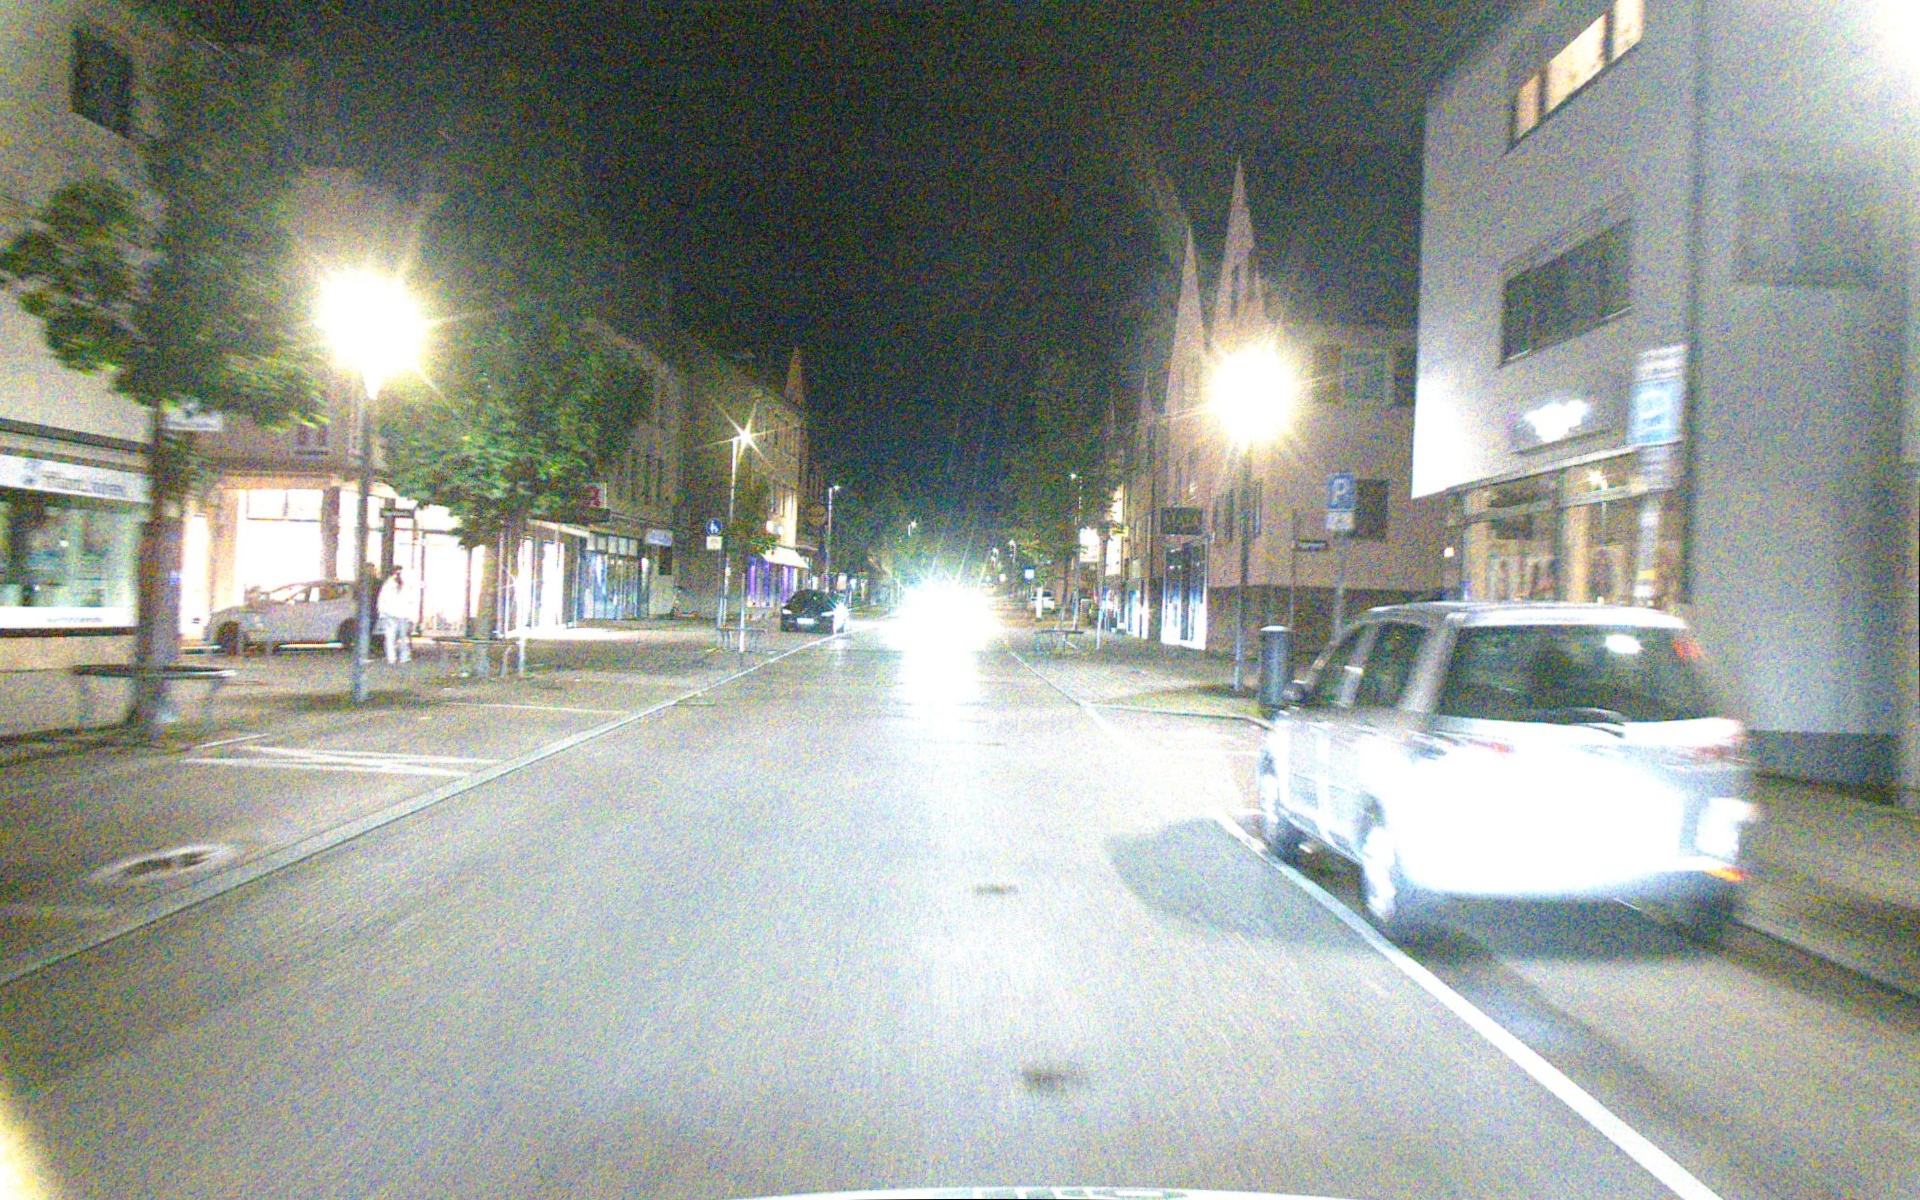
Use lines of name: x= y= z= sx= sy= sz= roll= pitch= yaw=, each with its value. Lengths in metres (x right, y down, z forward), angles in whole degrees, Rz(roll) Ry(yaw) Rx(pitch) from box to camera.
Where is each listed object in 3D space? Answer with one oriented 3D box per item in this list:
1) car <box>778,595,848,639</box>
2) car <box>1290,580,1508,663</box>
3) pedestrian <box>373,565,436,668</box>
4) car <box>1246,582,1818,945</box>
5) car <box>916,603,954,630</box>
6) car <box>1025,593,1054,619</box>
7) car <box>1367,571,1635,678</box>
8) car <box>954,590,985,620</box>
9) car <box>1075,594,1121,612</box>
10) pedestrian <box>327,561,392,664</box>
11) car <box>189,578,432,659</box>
car: x=-5.012 y=0.542 z=56.910 sx=1.875 sy=1.394 sz=4.458 roll=1 pitch=0 yaw=1
car: x=8.900 y=0.434 z=33.710 sx=3.907 sy=1.502 sz=1.751 roll=-2 pitch=-1 yaw=-3
pedestrian: x=-9.305 y=0.260 z=27.726 sx=0.753 sy=1.685 sz=0.782 roll=1 pitch=1 yaw=1
car: x=2.713 y=0.694 z=8.737 sx=1.641 sy=1.485 sz=3.674 roll=1 pitch=0 yaw=-2
car: x=-1.184 y=0.808 z=81.166 sx=1.687 sy=1.268 sz=4.237 roll=1 pitch=0 yaw=1
car: x=5.292 y=0.385 z=110.559 sx=1.739 sy=1.681 sz=4.364 roll=1 pitch=0 yaw=1
car: x=9.320 y=0.393 z=28.672 sx=3.996 sy=1.609 sz=1.815 roll=-2 pitch=1 yaw=-4
car: x=0.586 y=0.284 z=97.035 sx=1.738 sy=1.681 sz=4.365 roll=1 pitch=0 yaw=1
car: x=11.976 y=0.252 z=143.589 sx=3.902 sy=1.441 sz=2.001 roll=1 pitch=-2 yaw=6
pedestrian: x=-10.068 y=0.204 z=27.755 sx=0.753 sy=1.685 sz=0.817 roll=1 pitch=1 yaw=1
car: x=-12.934 y=0.362 z=33.078 sx=4.080 sy=1.463 sz=1.841 roll=-2 pitch=-1 yaw=3
